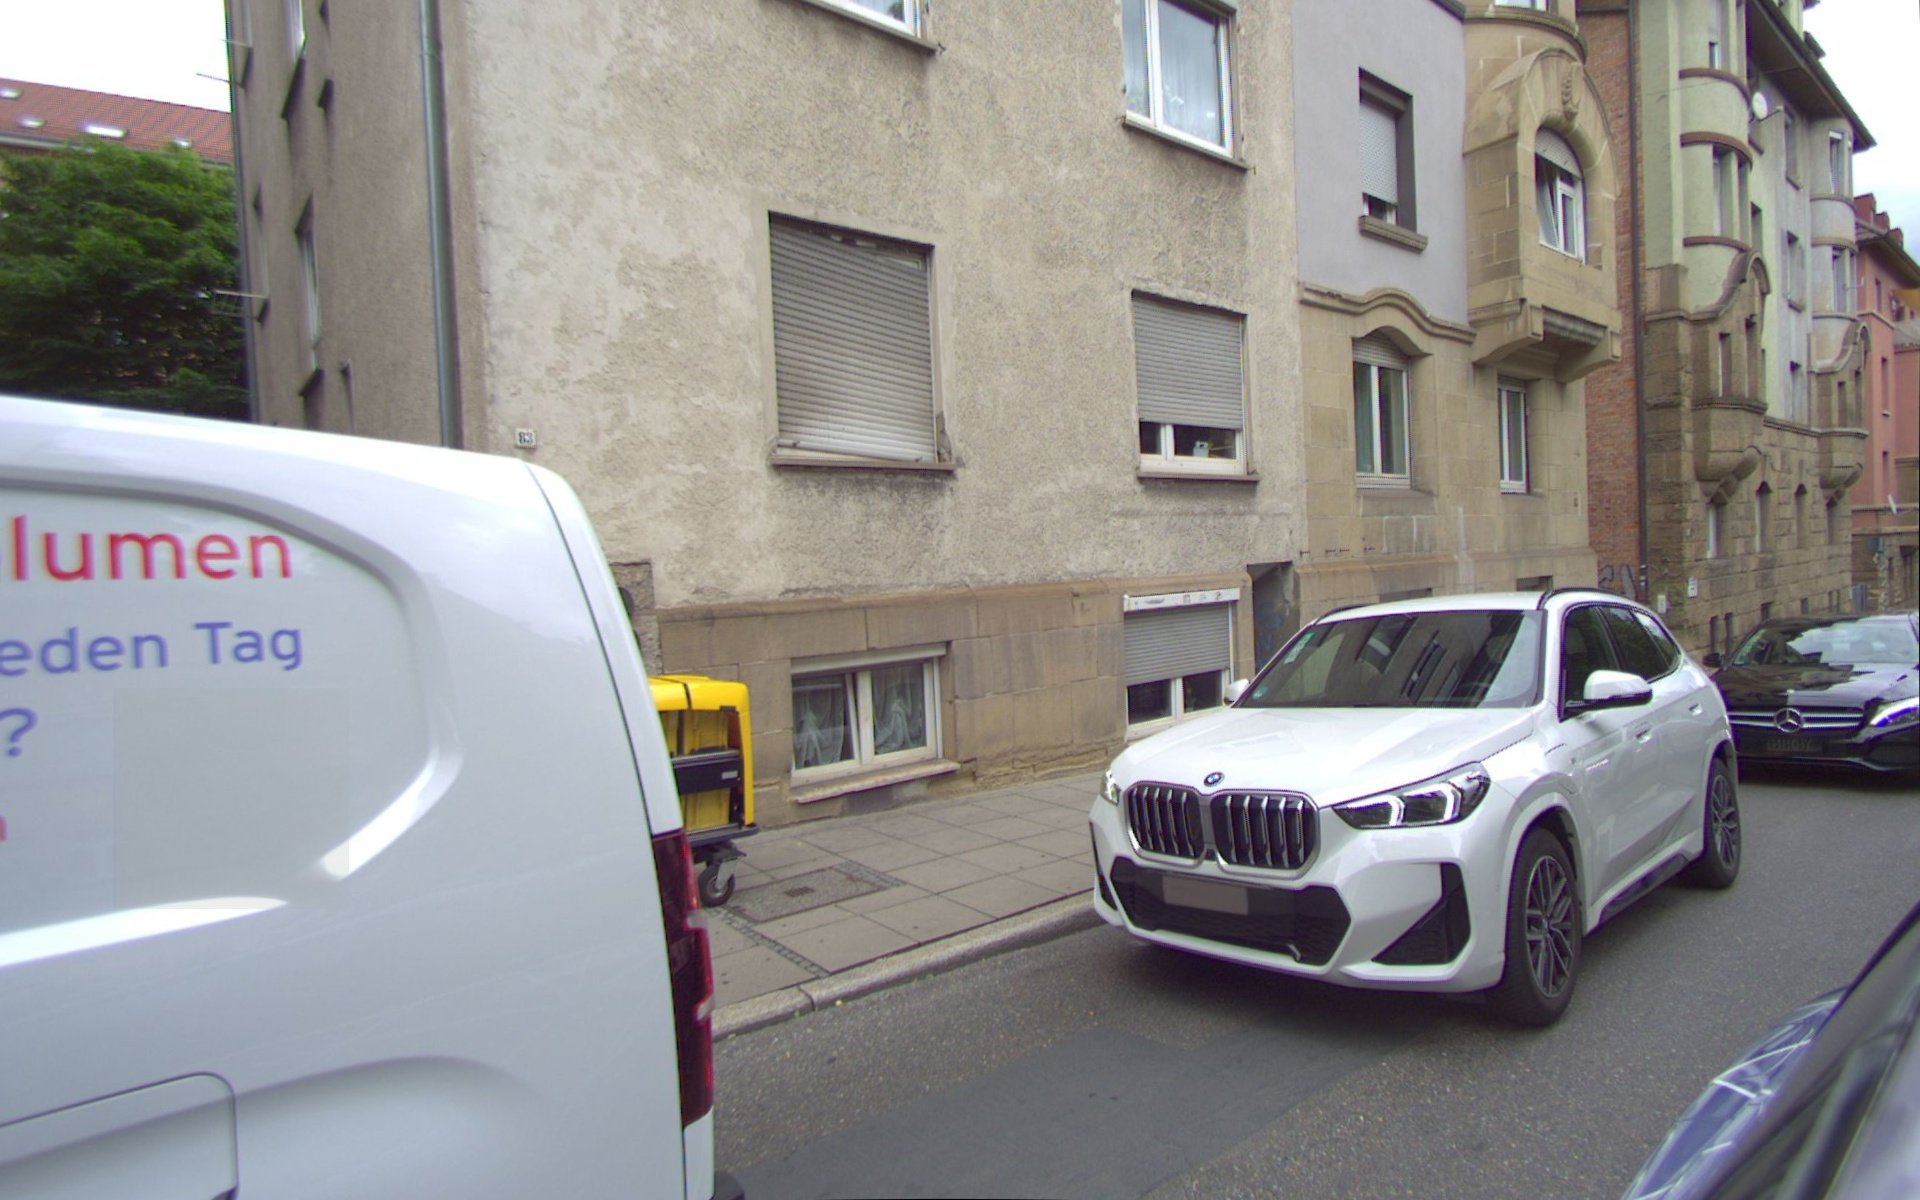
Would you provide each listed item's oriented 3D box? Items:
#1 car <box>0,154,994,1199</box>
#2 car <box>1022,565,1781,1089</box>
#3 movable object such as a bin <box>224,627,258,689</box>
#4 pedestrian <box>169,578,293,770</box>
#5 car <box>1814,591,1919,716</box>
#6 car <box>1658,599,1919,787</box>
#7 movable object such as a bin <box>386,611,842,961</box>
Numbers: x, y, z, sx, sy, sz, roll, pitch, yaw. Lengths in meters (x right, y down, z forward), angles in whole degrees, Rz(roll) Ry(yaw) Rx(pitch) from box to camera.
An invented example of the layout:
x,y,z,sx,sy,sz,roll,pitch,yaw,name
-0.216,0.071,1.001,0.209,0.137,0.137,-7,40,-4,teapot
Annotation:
x,y,z,sx,sy,sz,roll,pitch,yaw,name
-2.313,0.559,0.863,4.597,1.798,1.977,-1,-3,-42,car
2.518,0.721,5.195,4.276,1.576,1.857,-1,-4,-42,car
-11.040,0.887,15.542,0.405,0.923,0.340,0,0,-40,movable object such as a bin
-6.950,0.656,9.649,0.771,1.666,0.810,-7,5,-39,pedestrian
13.451,0.638,13.824,4.226,1.534,1.935,-1,-3,-40,car
8.325,0.731,9.495,4.133,1.395,1.882,-1,-3,-41,car
-1.787,0.794,5.373,1.979,1.391,1.223,-1,2,-43,movable object such as a bin
